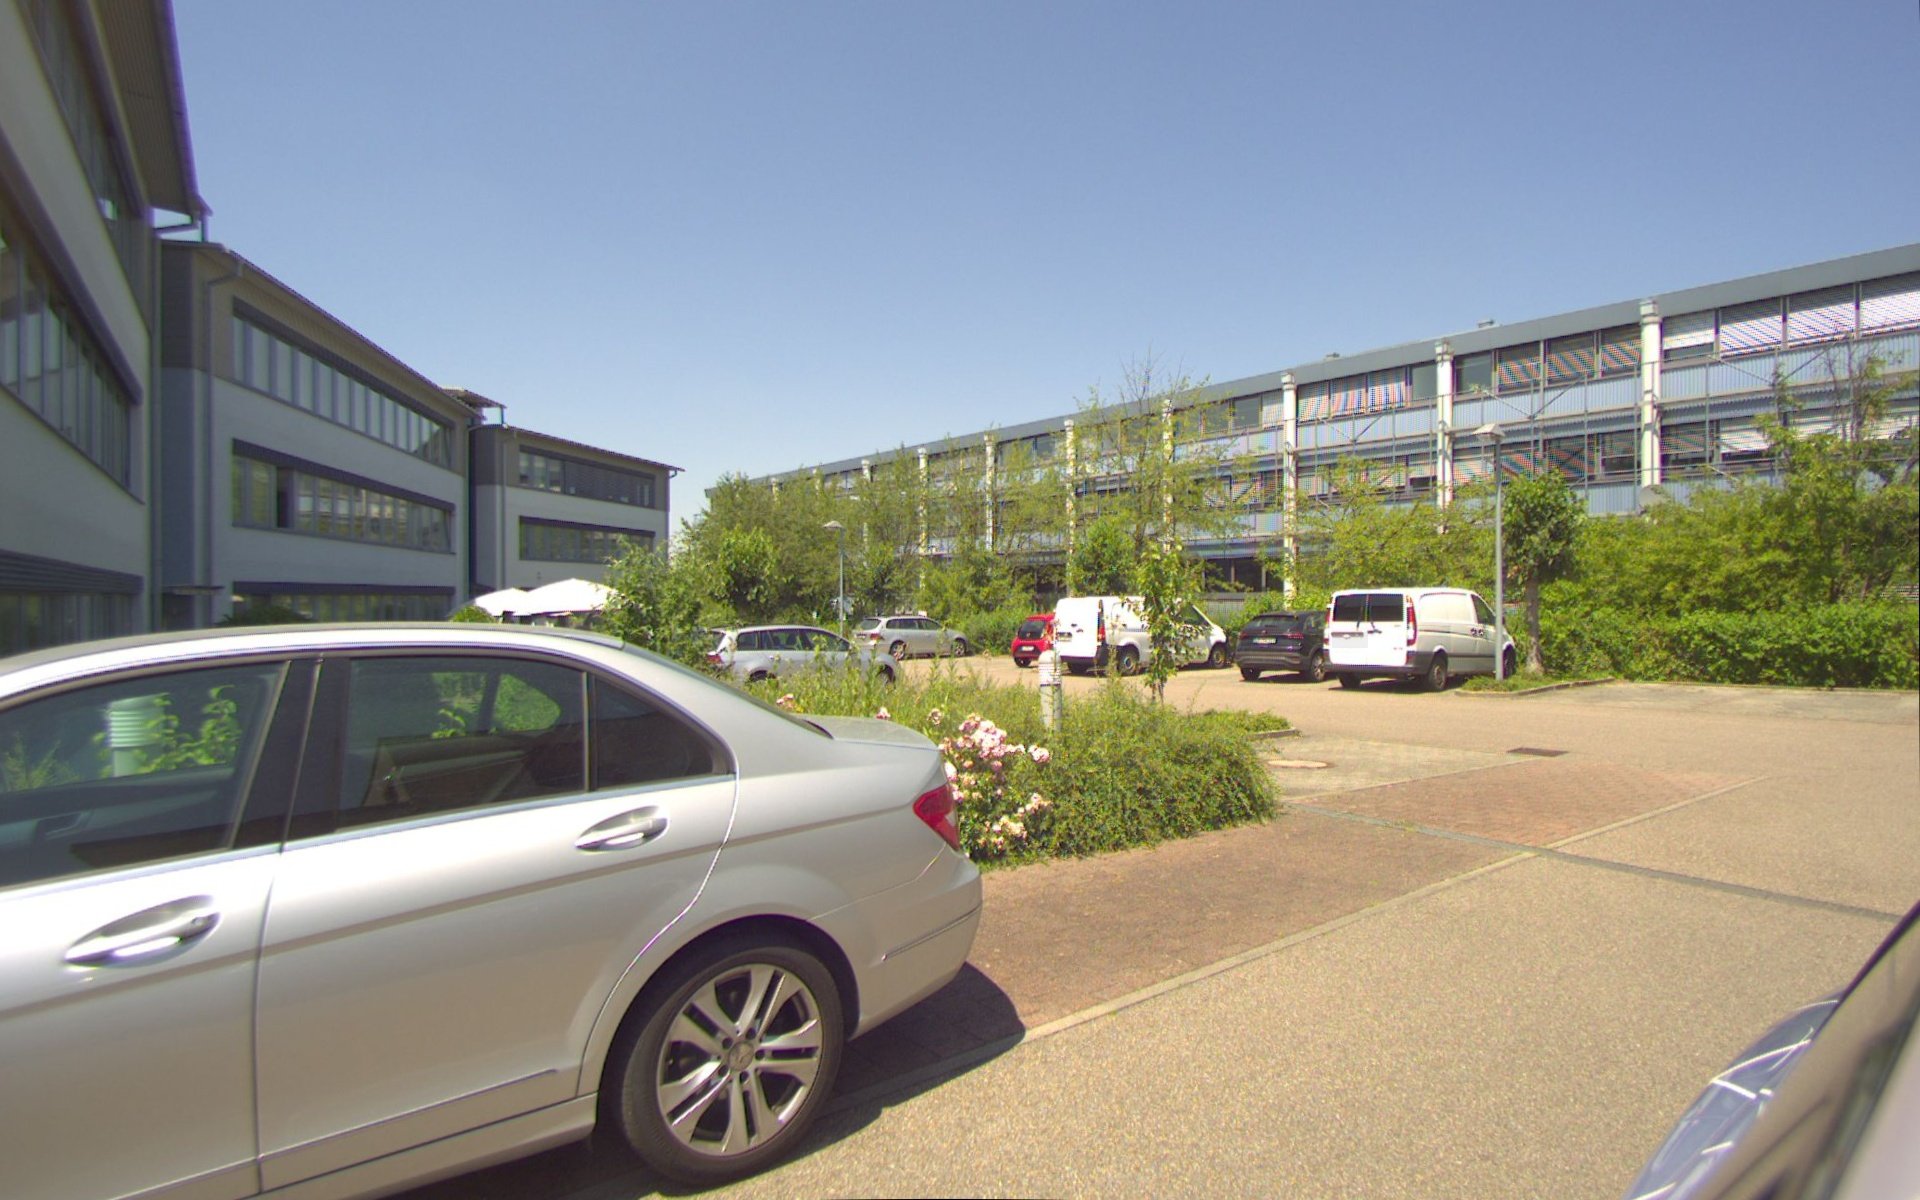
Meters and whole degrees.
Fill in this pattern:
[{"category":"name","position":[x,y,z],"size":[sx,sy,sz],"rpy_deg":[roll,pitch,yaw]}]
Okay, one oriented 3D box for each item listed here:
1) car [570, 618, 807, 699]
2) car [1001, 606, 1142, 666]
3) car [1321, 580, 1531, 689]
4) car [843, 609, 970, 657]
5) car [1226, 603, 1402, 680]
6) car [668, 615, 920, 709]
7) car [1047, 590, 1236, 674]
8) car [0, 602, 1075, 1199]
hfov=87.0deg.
[{"category":"car","position":[-5.687,1.162,21.490],"size":[4.530,1.513,1.854],"rpy_deg":[0,-2,-39]},{"category":"car","position":[3.170,0.976,28.444],"size":[3.849,1.507,1.623],"rpy_deg":[-1,-1,-37]},{"category":"car","position":[9.132,0.597,19.680],"size":[4.593,1.884,1.866],"rpy_deg":[-1,-1,-39]},{"category":"car","position":[-1.787,1.086,34.386],"size":[4.009,1.503,1.739],"rpy_deg":[-1,-1,-36]},{"category":"car","position":[7.793,0.850,22.124],"size":[4.123,1.503,1.737],"rpy_deg":[-1,-1,-39]},{"category":"car","position":[-3.049,1.076,19.019],"size":[4.348,1.539,1.854],"rpy_deg":[0,-2,-39]},{"category":"car","position":[4.622,0.741,25.374],"size":[4.844,1.879,1.855],"rpy_deg":[-1,-1,-37]},{"category":"car","position":[-1.927,0.742,2.638],"size":[4.336,1.416,1.805],"rpy_deg":[-1,0,-36]}]
